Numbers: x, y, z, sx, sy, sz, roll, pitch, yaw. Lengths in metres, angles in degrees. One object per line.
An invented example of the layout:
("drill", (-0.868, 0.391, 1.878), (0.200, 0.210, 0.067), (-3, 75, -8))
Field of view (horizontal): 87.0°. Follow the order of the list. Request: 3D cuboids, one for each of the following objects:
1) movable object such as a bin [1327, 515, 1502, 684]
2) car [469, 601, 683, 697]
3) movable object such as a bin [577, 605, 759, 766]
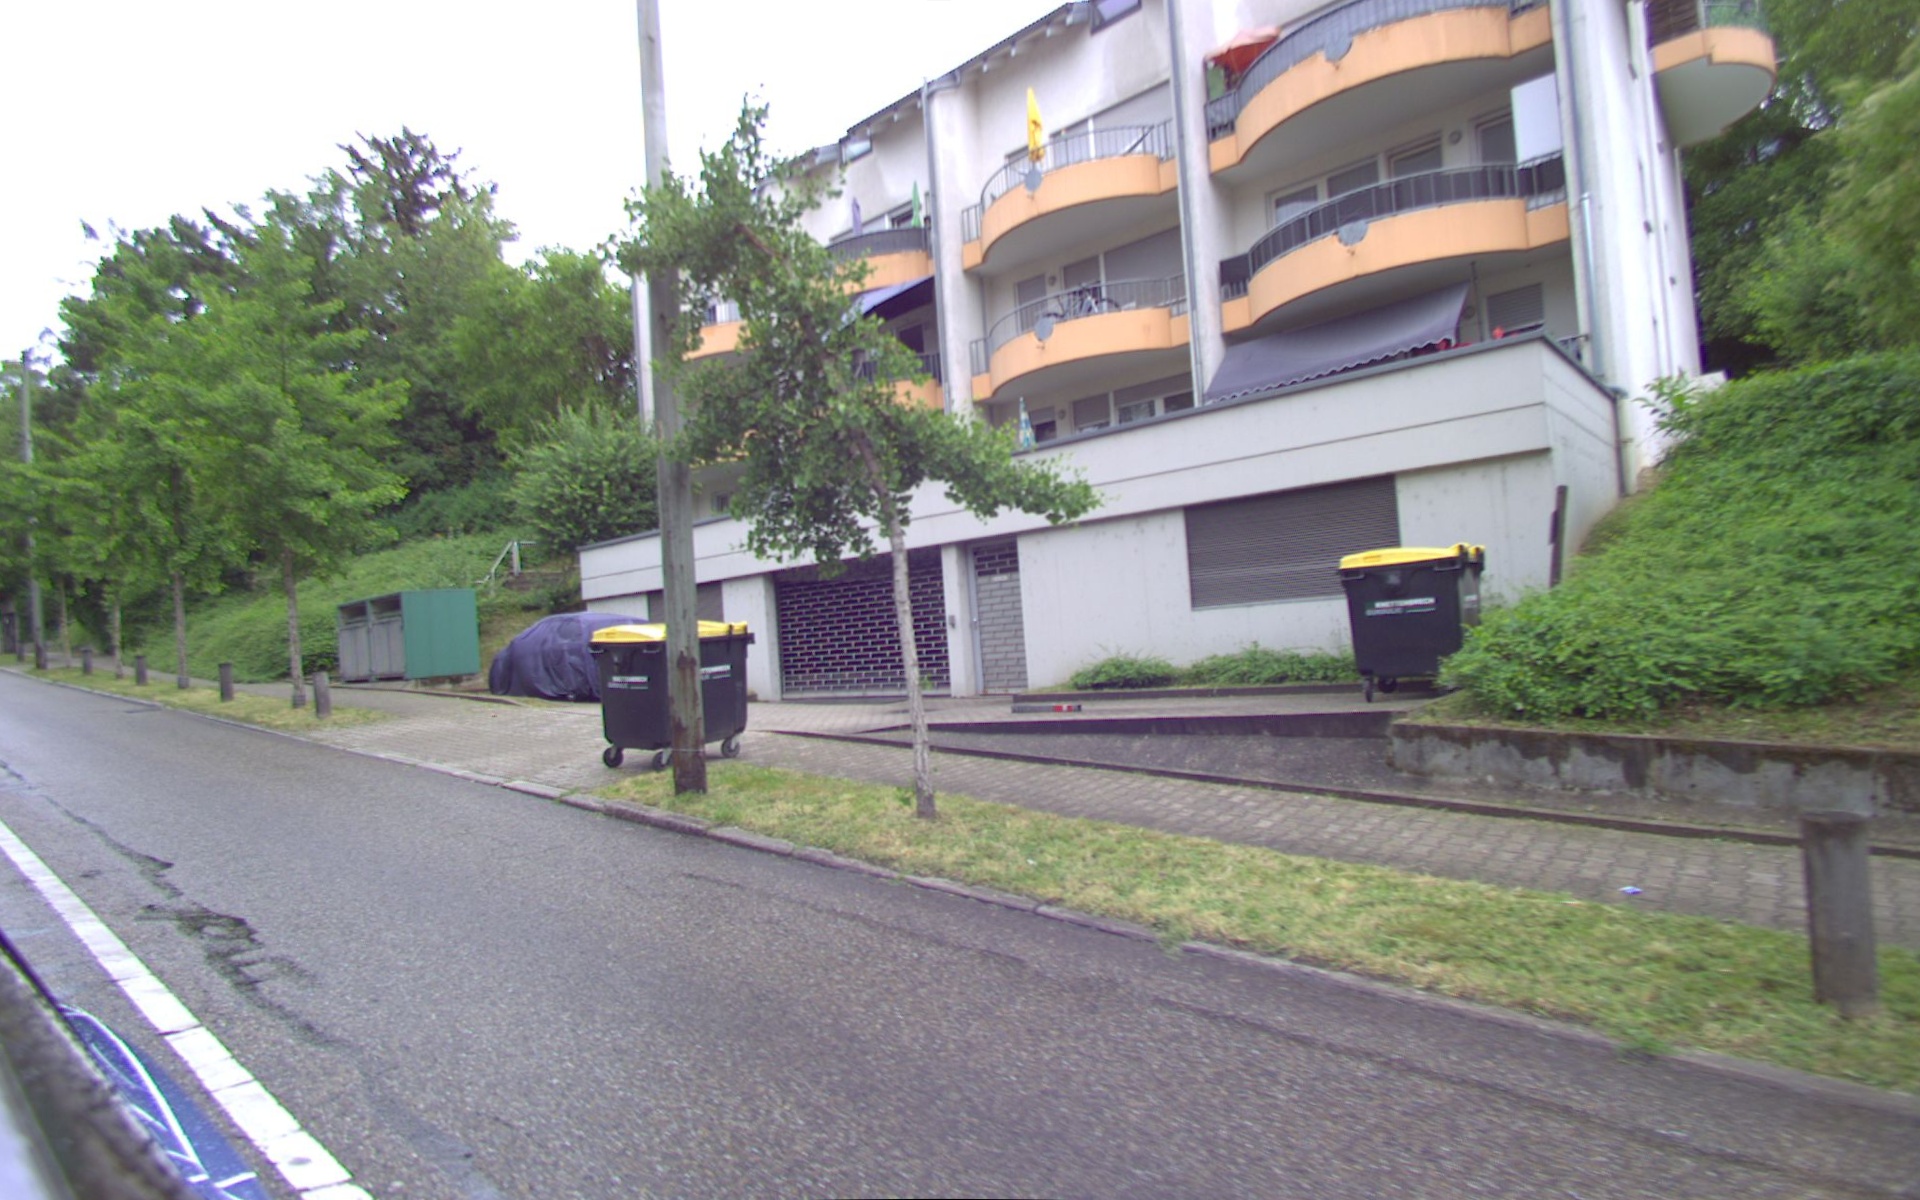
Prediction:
("movable object such as a bin", (4.115, 0.002, 9.117), (1.159, 1.325, 1.252), (-7, -2, 33))
("car", (-6.807, 0.846, 17.806), (3.861, 1.503, 1.833), (-1, -3, 39))
("movable object such as a bin", (-2.749, 0.747, 9.600), (1.120, 1.360, 1.213), (0, 1, 33))
